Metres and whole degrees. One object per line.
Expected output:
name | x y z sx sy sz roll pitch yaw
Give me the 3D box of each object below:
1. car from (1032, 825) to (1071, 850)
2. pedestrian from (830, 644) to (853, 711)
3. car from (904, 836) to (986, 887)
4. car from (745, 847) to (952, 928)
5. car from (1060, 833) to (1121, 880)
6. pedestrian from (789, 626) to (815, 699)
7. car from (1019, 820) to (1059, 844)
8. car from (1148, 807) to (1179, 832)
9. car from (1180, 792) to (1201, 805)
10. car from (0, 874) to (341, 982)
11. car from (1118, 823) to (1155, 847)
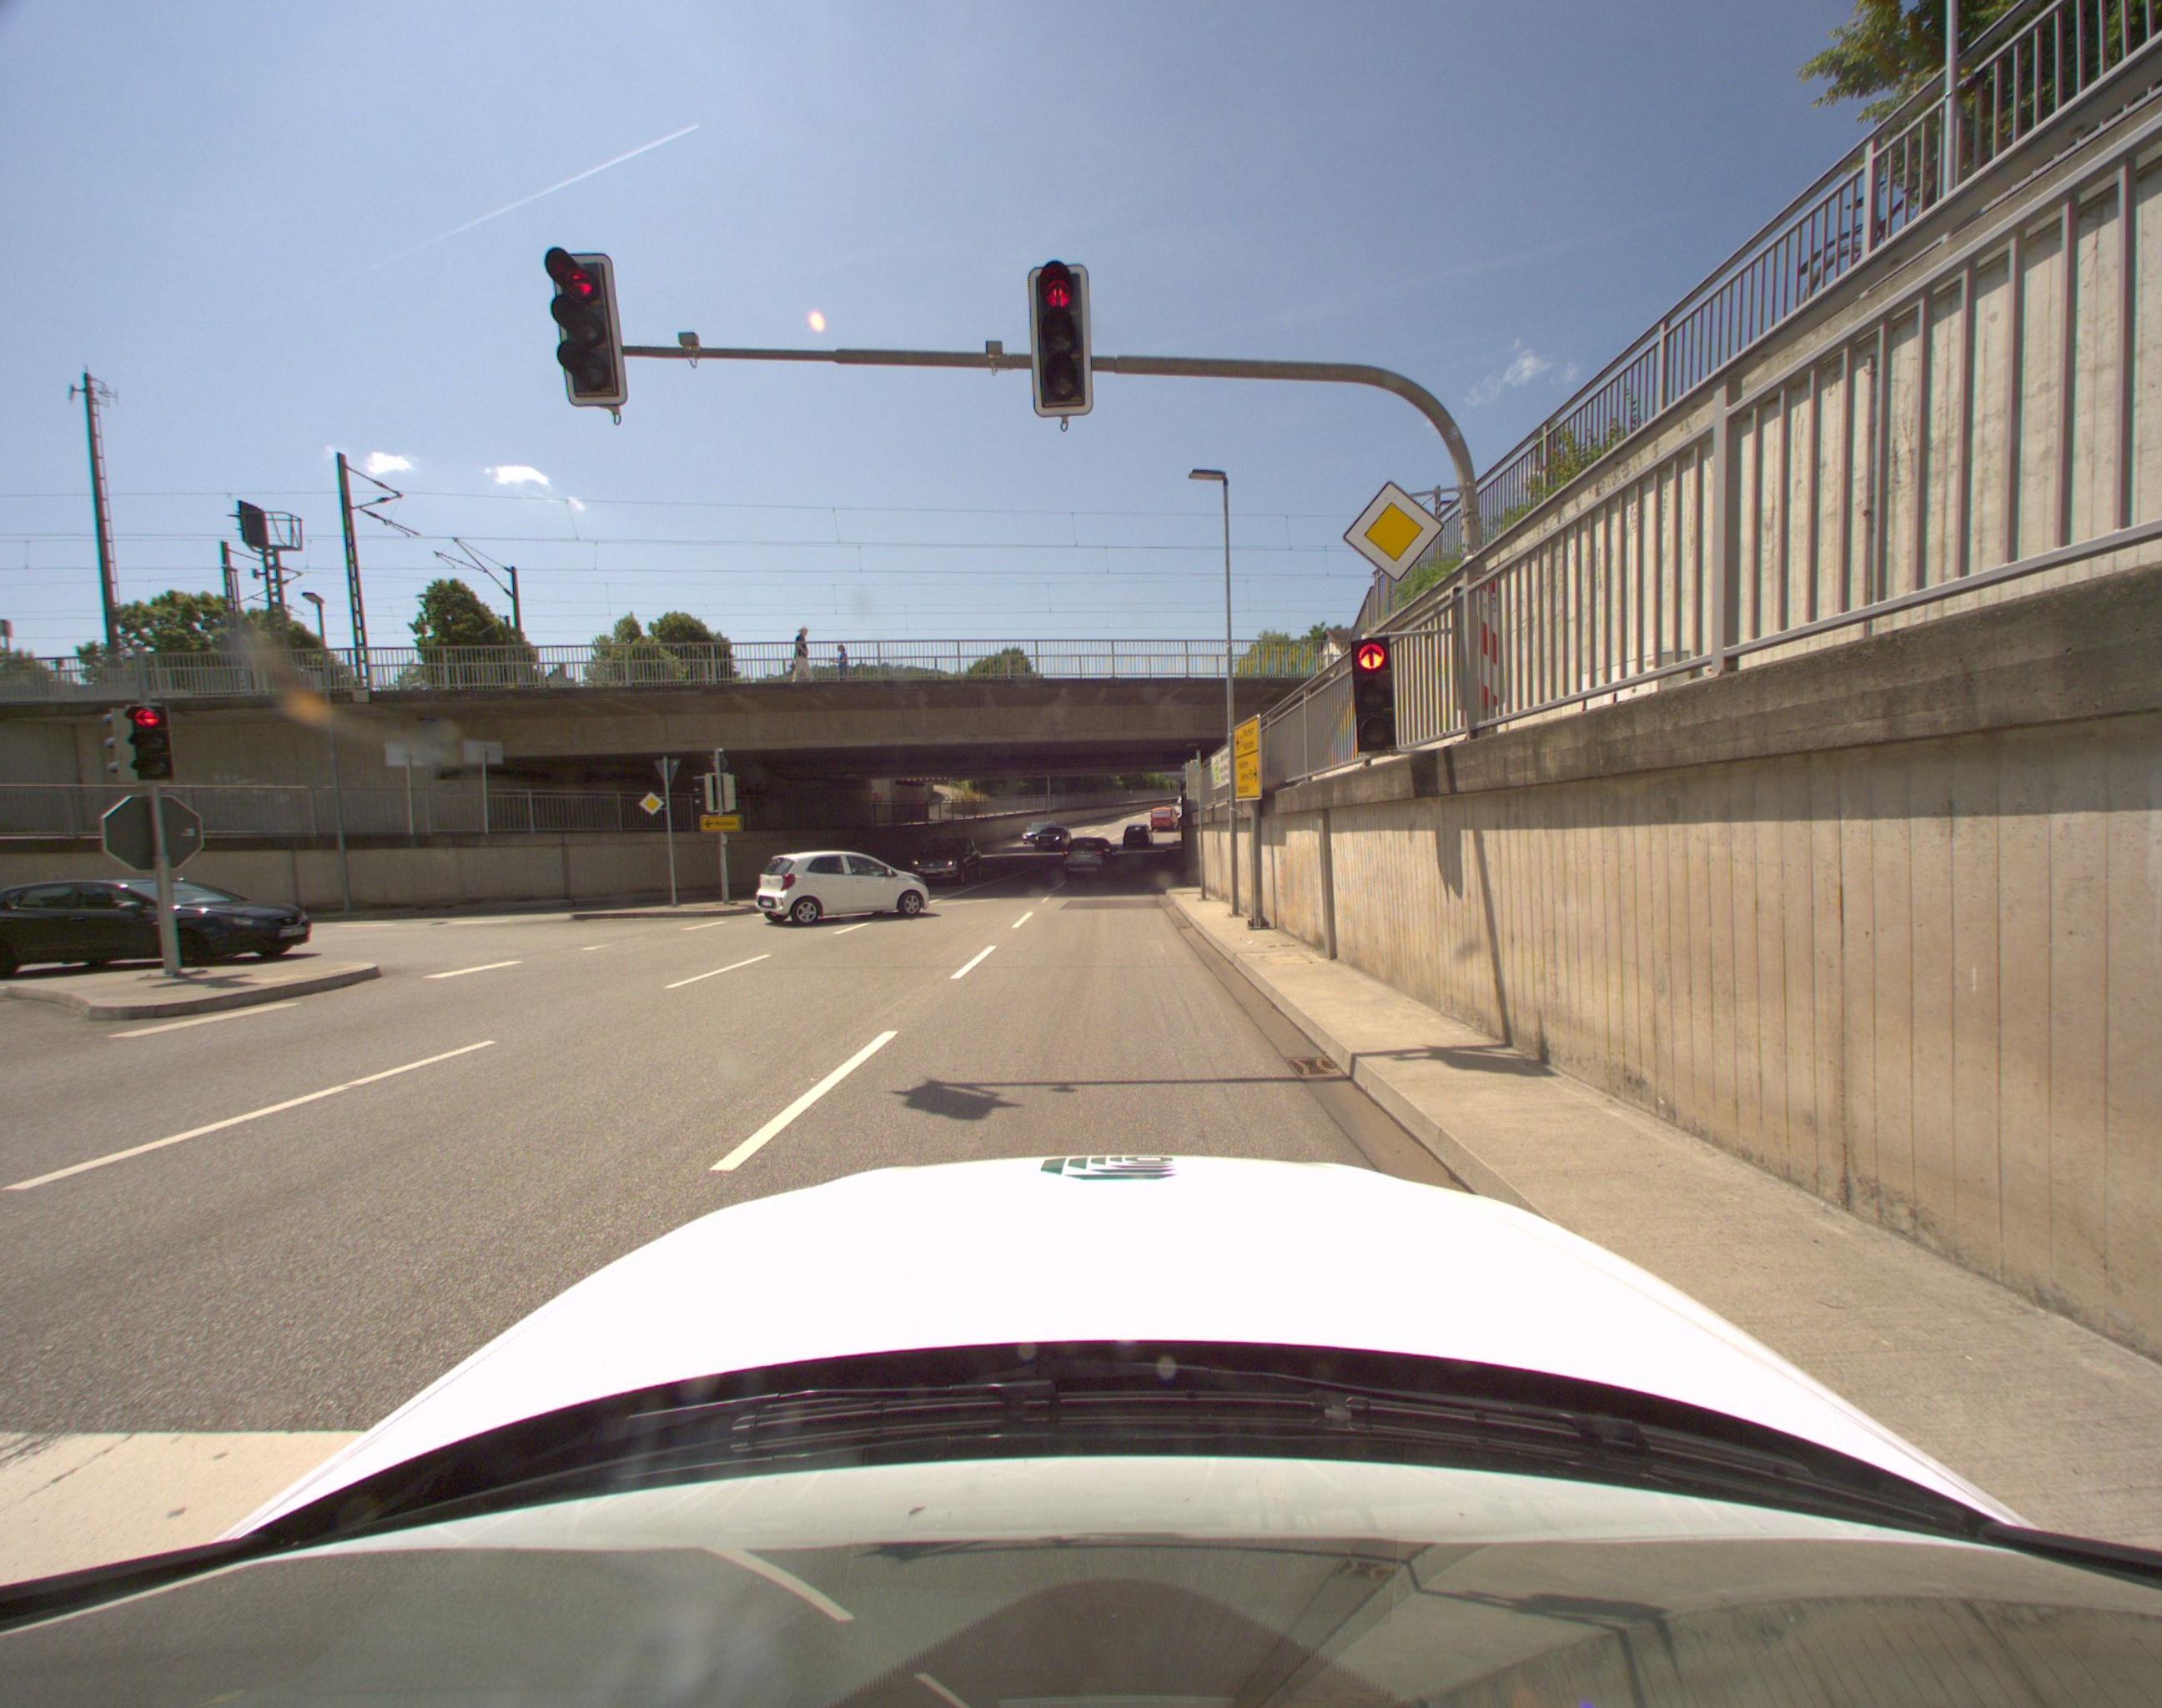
car | -1.824 -1.050 51.289 1.772 1.436 4.009 -1 2 7
pedestrian | -7.806 -5.733 26.504 0.538 2.081 0.534 -2 0 -5
car | -4.879 0.214 29.770 1.984 1.627 4.006 -1 2 4
car | -5.032 0.642 17.935 4.023 1.419 1.710 -3 3 -42
car | 0.432 0.040 31.573 1.984 1.588 4.007 -1 2 5
pedestrian | -8.415 -5.760 24.591 0.576 2.081 0.533 -2 0 -9
car | -2.979 -1.593 58.499 1.981 1.588 4.013 -1 2 10
car | 6.835 -2.845 67.185 1.859 1.932 4.737 -1 2 13
car | 14.241 -7.262 105.676 1.977 1.588 4.021 0 5 19
car | -14.789 1.122 13.017 3.986 1.374 1.762 -2 2 -10
car | 3.645 -1.249 52.649 1.982 1.507 4.011 -1 2 9
